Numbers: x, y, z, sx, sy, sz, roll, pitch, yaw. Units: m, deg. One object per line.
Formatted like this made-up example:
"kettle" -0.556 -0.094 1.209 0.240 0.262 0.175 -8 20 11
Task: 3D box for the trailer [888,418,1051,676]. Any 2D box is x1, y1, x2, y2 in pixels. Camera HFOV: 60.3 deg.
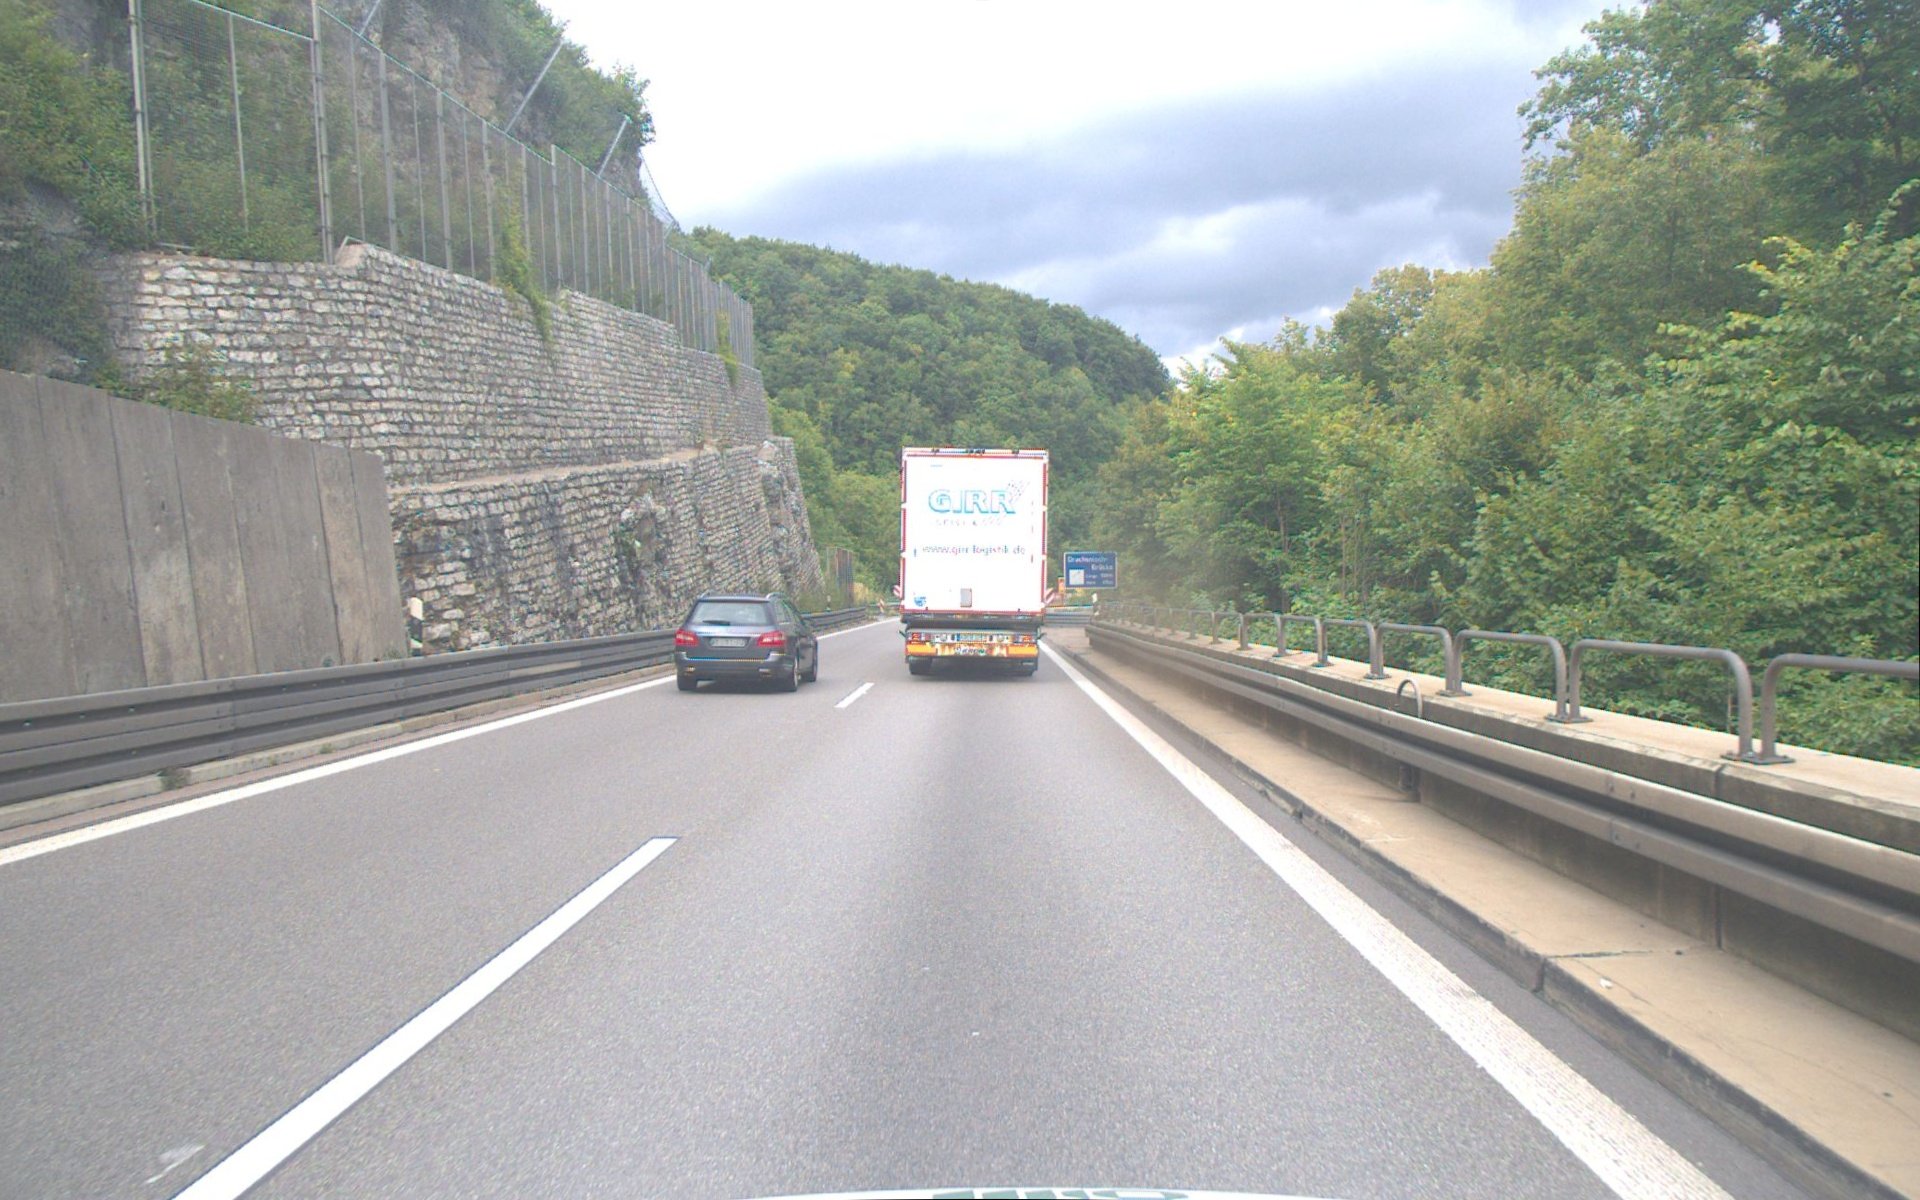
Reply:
"trailer" 0.304 -0.871 34.186 2.755 4.378 12.246 0 0 1

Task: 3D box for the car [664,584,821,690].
"car" -3.353 0.547 26.306 1.844 1.536 4.419 0 0 1
